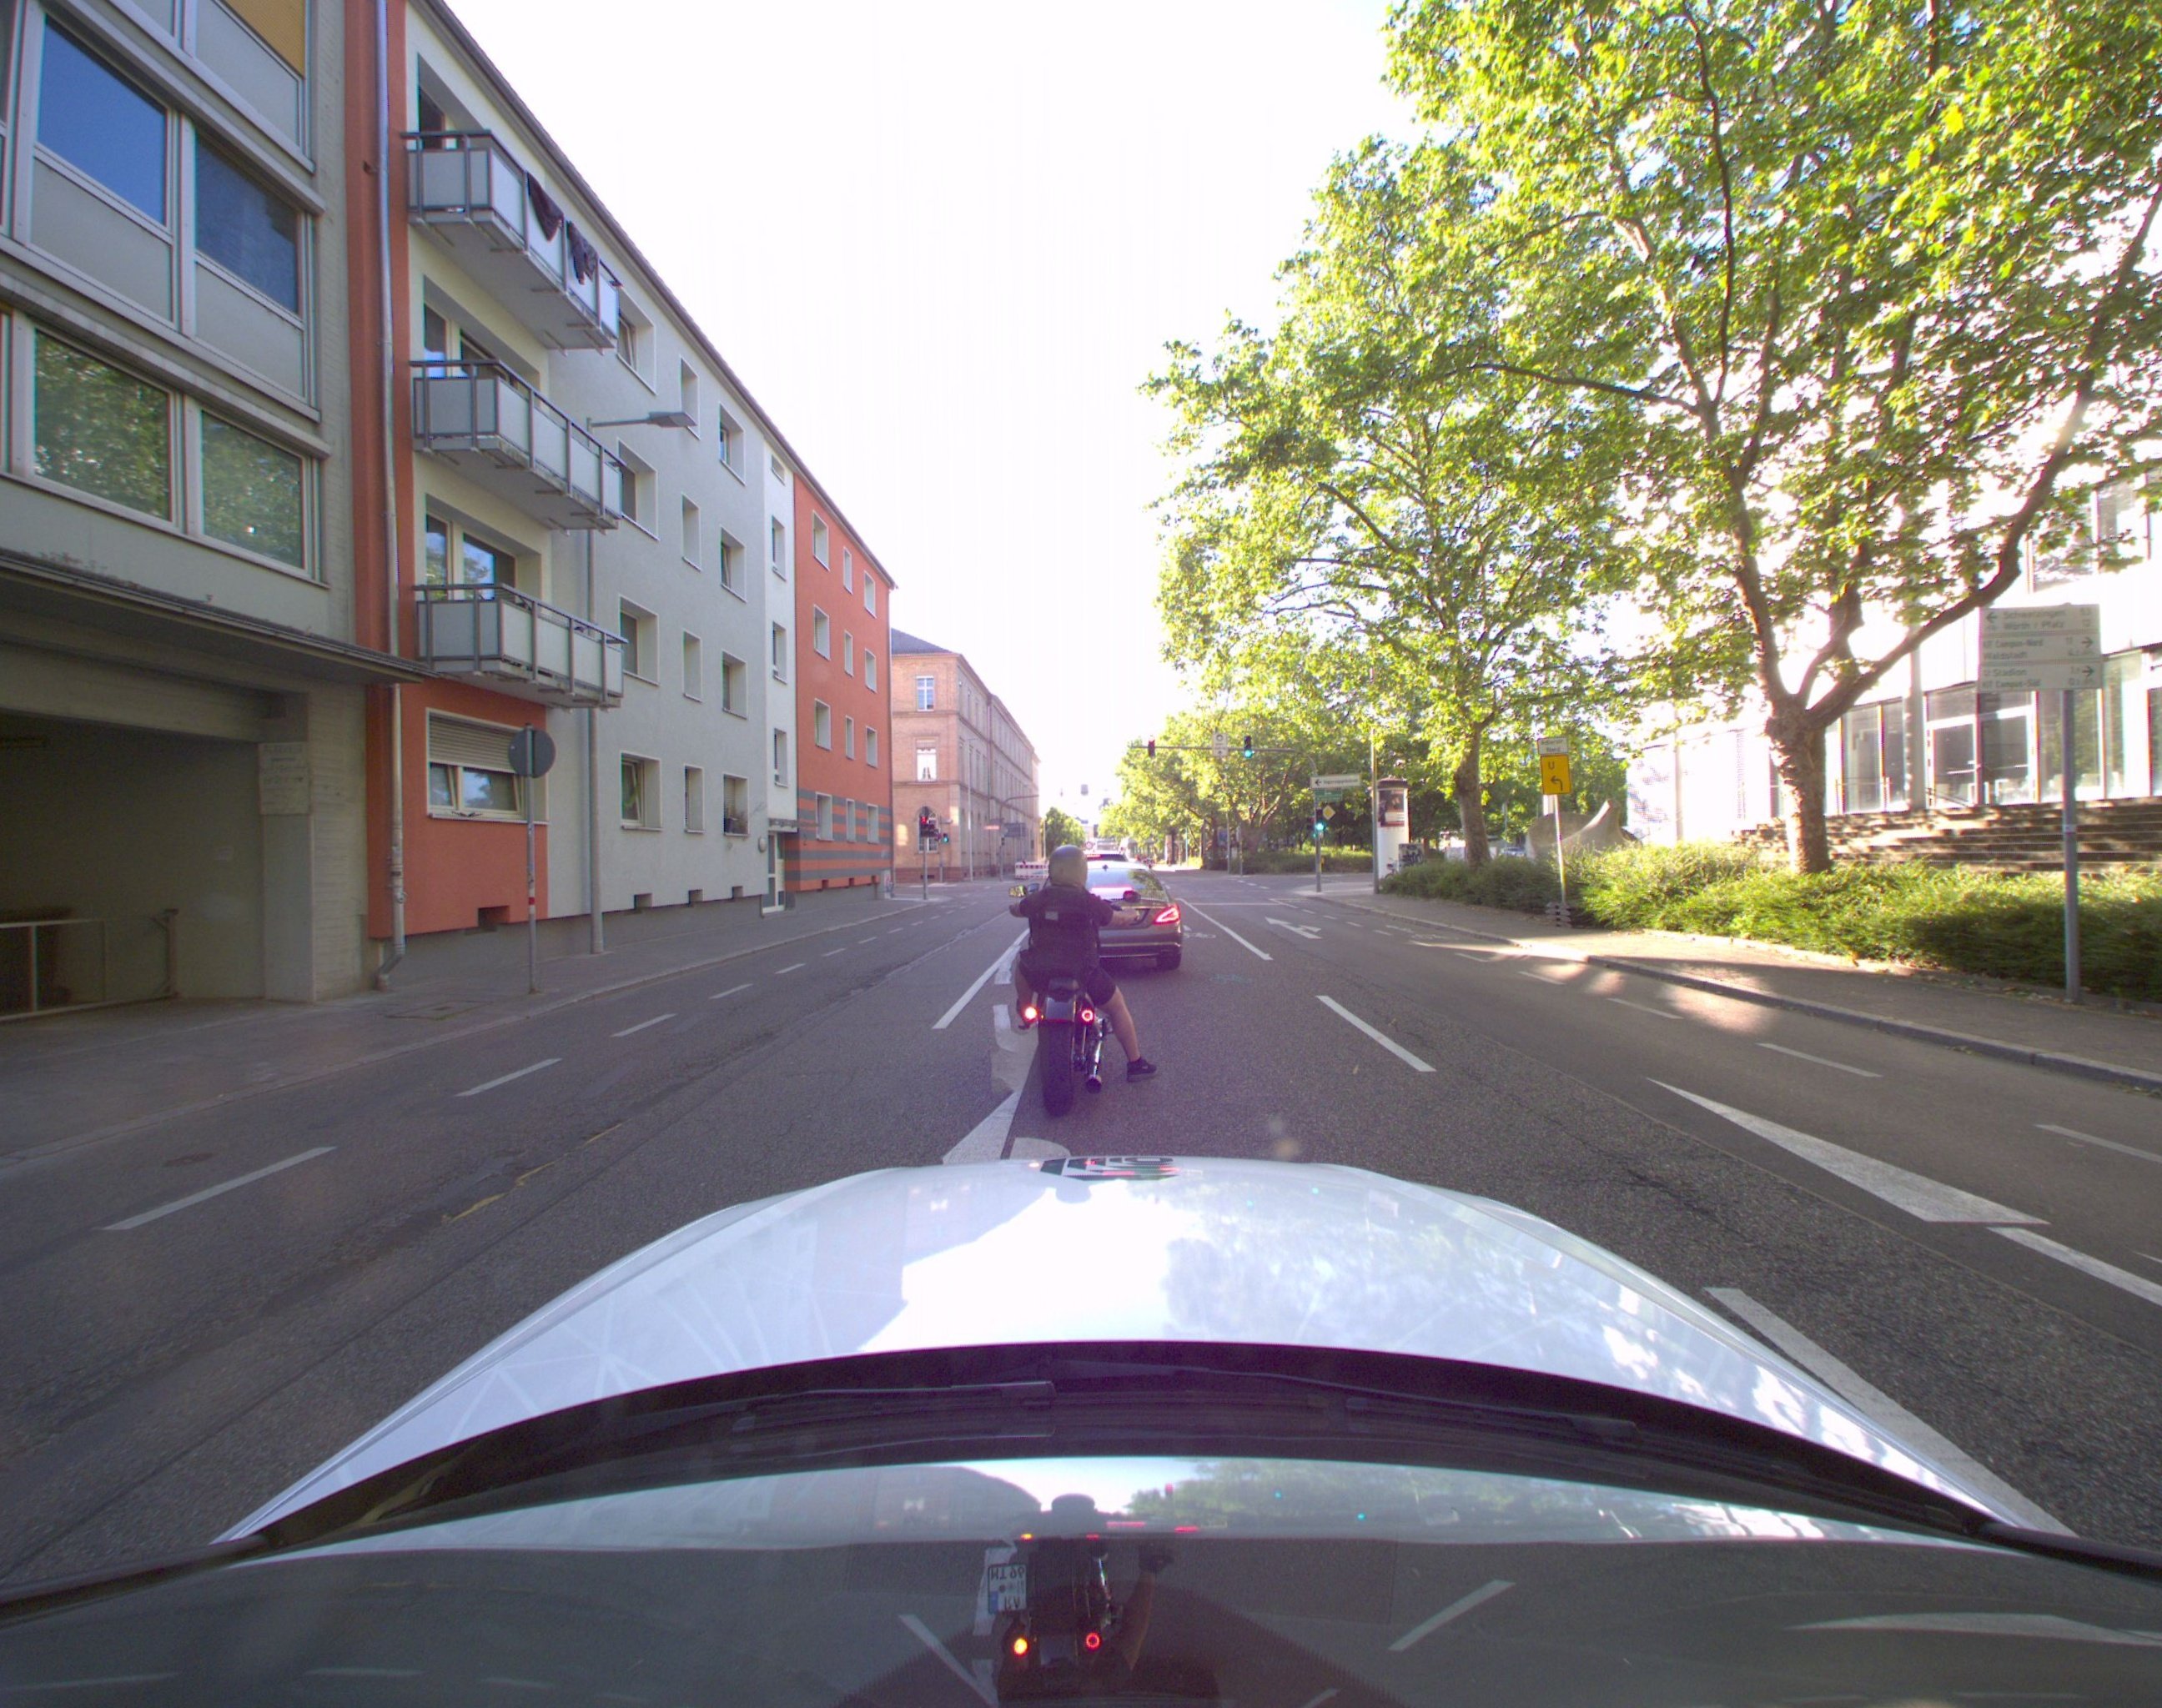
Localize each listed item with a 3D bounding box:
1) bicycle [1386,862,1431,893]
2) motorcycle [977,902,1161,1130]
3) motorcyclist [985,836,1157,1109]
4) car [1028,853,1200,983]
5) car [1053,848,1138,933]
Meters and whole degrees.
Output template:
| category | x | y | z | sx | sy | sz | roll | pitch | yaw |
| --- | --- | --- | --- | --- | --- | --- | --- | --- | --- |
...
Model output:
| category | x | y | z | sx | sy | sz | roll | pitch | yaw |
| --- | --- | --- | --- | --- | --- | --- | --- | --- | --- |
| bicycle | 11.026 | 0.795 | 27.429 | 1.346 | 1.023 | 0.363 | -1 | 0 | 2 |
| motorcycle | -0.028 | 0.960 | 5.675 | 0.986 | 1.078 | 2.453 | -1 | 0 | 2 |
| motorcyclist | -0.037 | 0.701 | 5.521 | 0.986 | 1.597 | 1.404 | -1 | 0 | 2 |
| car | 0.257 | 0.744 | 11.713 | 1.943 | 1.473 | 4.355 | -1 | 0 | -5 |
| car | 0.321 | 0.708 | 17.883 | 1.606 | 1.607 | 4.329 | -1 | 0 | 1 |
